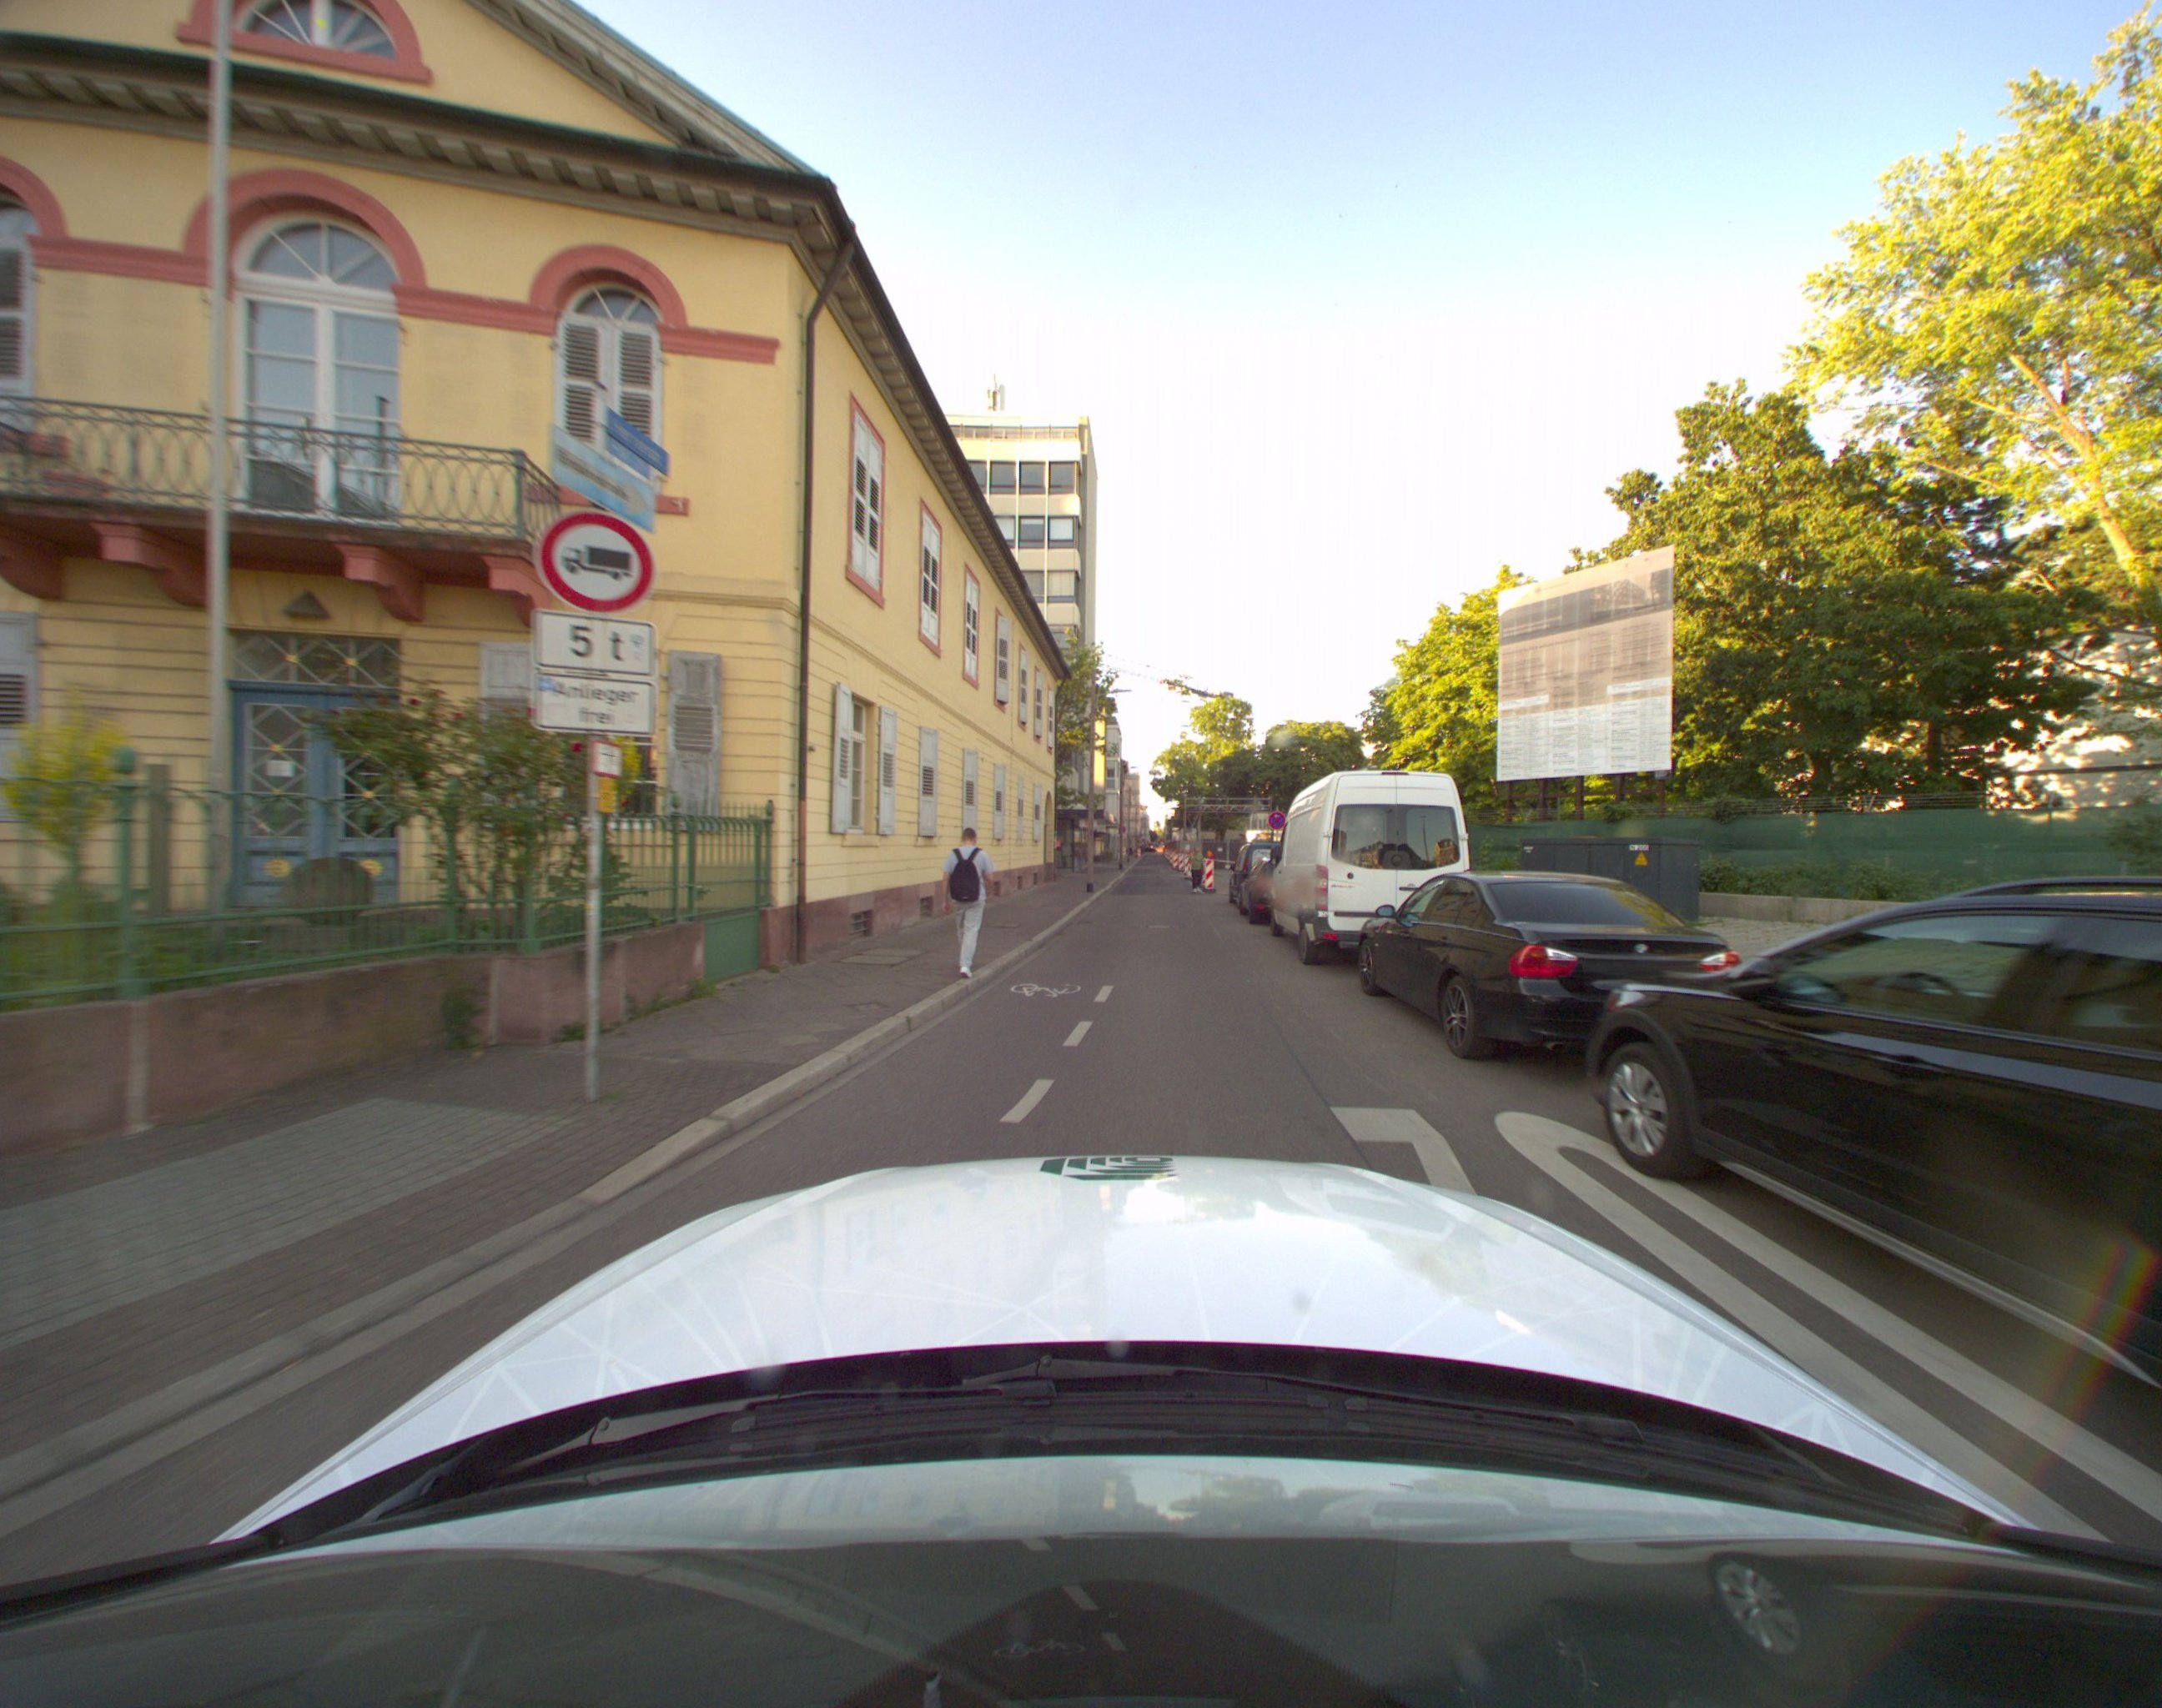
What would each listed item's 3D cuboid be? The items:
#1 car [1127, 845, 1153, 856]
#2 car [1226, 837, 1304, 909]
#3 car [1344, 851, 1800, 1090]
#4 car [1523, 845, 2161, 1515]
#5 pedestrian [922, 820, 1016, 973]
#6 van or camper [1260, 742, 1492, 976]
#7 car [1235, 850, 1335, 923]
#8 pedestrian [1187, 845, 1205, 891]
[{"bbox_3d":[8.351,-0.463,115.621,3.726,1.459,1.700,0,0,4],"label":"car"},{"bbox_3d":[5.170,0.474,23.313,1.704,1.848,4.029,1,1,6],"label":"car"},{"bbox_3d":[3.773,0.713,7.320,1.720,1.429,4.480,1,1,5],"label":"car"},{"bbox_3d":[3.437,0.750,2.751,1.770,1.543,4.295,0,0,3],"label":"car"},{"bbox_3d":[-1.310,0.476,9.687,0.871,1.724,0.831,1,0,9],"label":"pedestrian"},{"bbox_3d":[4.230,0.045,12.990,2.066,2.774,6.462,0,0,7],"label":"van or camper"},{"bbox_3d":[4.557,0.651,18.702,1.683,1.459,4.106,1,1,6],"label":"car"},{"bbox_3d":[4.166,0.491,29.515,0.610,1.628,0.820,1,0,8],"label":"pedestrian"}]
